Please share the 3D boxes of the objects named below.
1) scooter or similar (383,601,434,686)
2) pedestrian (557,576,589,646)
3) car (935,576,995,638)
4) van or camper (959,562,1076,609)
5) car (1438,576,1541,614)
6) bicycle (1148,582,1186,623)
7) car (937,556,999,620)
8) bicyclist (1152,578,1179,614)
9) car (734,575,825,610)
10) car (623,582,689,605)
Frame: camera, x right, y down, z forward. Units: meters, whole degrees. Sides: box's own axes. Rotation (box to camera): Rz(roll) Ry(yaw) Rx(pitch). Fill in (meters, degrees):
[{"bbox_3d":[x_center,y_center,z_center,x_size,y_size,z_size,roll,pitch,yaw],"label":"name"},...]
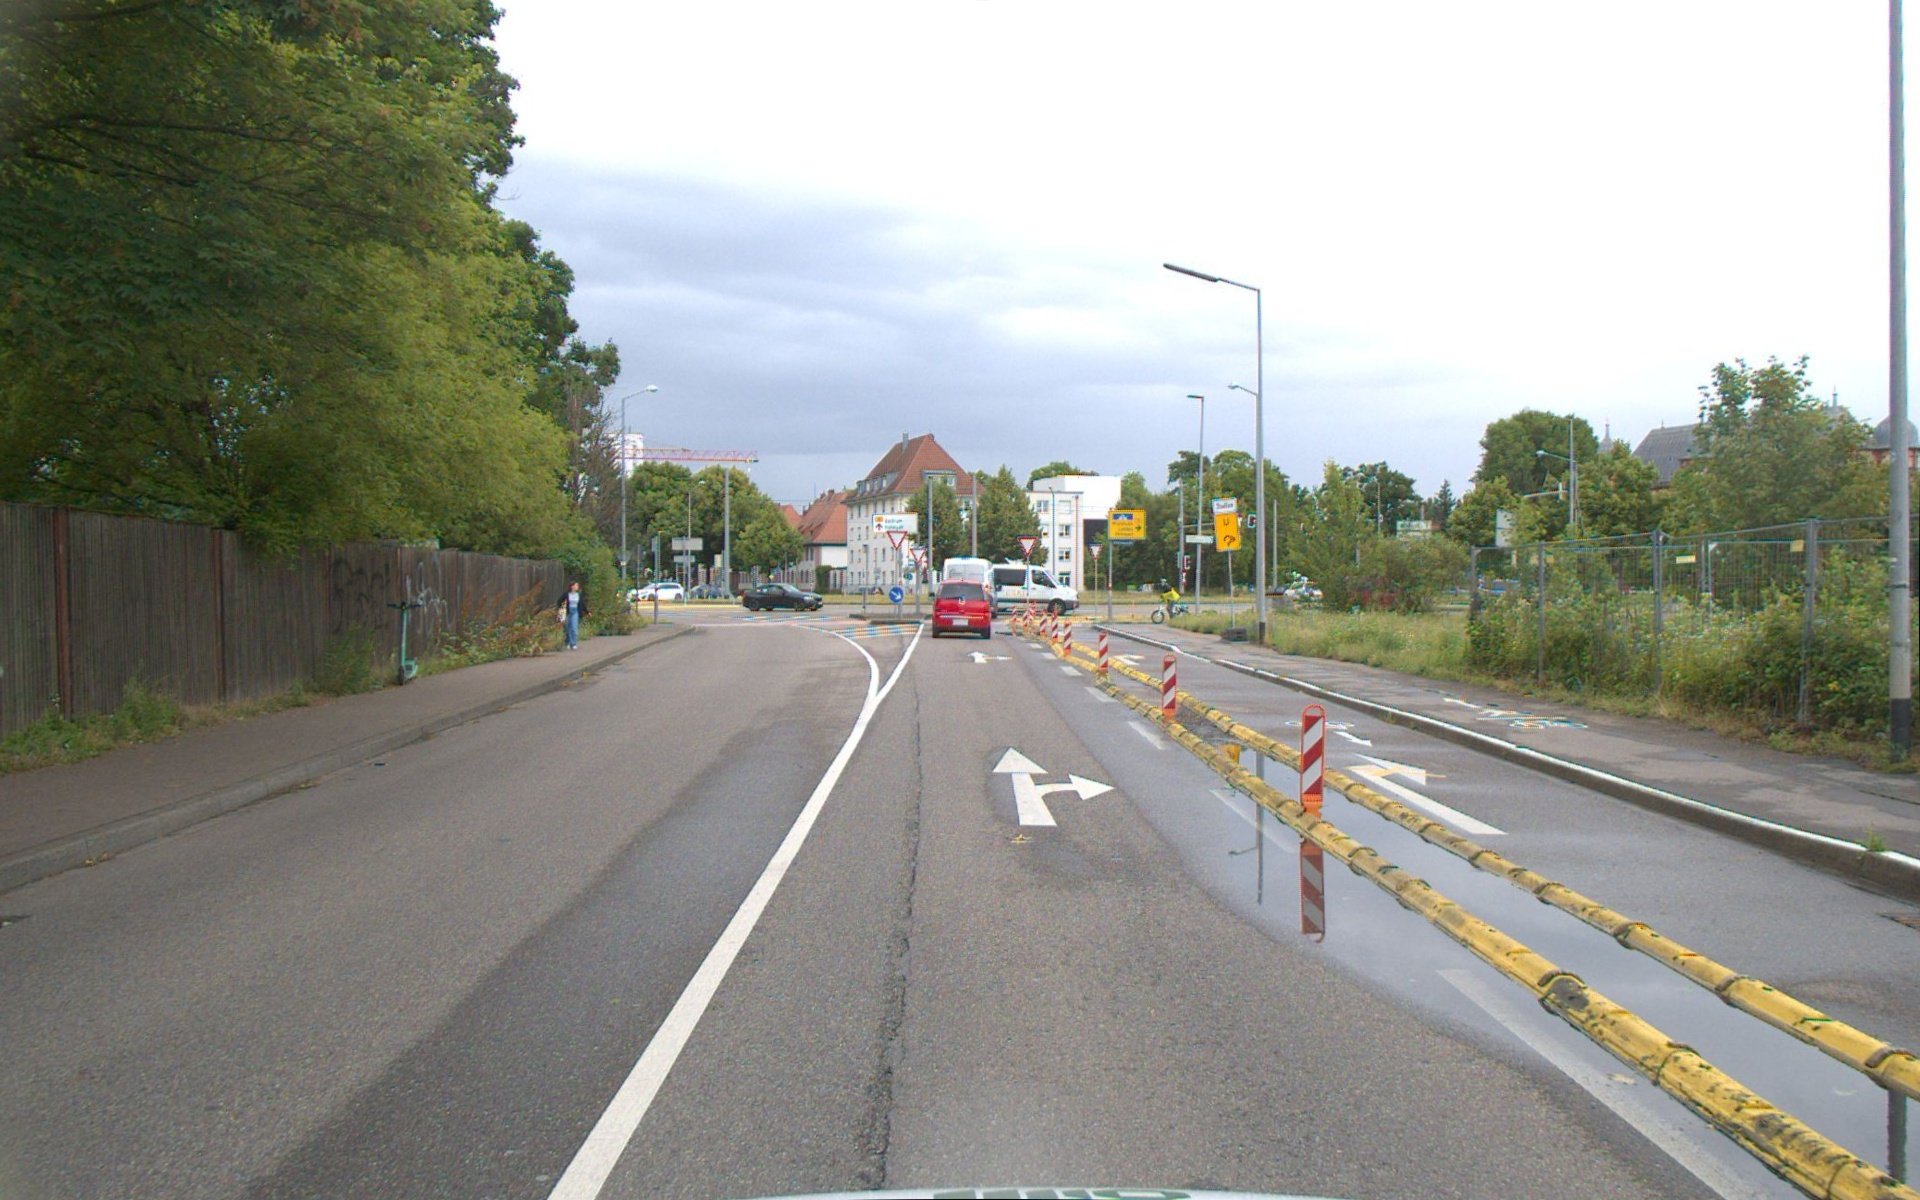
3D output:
[{"bbox_3d":[-8.042,0.616,24.158,0.414,1.191,1.302,0,0,-5],"label":"scooter or similar"},{"bbox_3d":[-8.809,0.242,37.630,0.600,1.556,0.723,0,0,-5],"label":"pedestrian"},{"bbox_3d":[0.133,0.164,47.213,1.639,1.669,3.627,1,0,0],"label":"car"},{"bbox_3d":[2.757,-0.680,78.603,5.417,2.152,2.001,0,0,6],"label":"van or camper"},{"bbox_3d":[26.696,-0.259,83.426,4.524,1.826,2.104,0,1,41],"label":"car"},{"bbox_3d":[8.278,0.104,66.269,1.446,1.640,0.606,0,0,3],"label":"bicycle"},{"bbox_3d":[0.378,-0.528,70.677,2.149,2.584,4.966,1,0,6],"label":"car"},{"bbox_3d":[8.212,-0.168,66.173,1.039,1.426,0.615,0,0,3],"label":"bicyclist"},{"bbox_3d":[-9.317,-0.379,85.428,4.267,1.780,2.002,0,0,9],"label":"car"},{"bbox_3d":[-22.452,-0.523,122.277,1.964,1.663,4.648,0,1,41],"label":"car"}]
